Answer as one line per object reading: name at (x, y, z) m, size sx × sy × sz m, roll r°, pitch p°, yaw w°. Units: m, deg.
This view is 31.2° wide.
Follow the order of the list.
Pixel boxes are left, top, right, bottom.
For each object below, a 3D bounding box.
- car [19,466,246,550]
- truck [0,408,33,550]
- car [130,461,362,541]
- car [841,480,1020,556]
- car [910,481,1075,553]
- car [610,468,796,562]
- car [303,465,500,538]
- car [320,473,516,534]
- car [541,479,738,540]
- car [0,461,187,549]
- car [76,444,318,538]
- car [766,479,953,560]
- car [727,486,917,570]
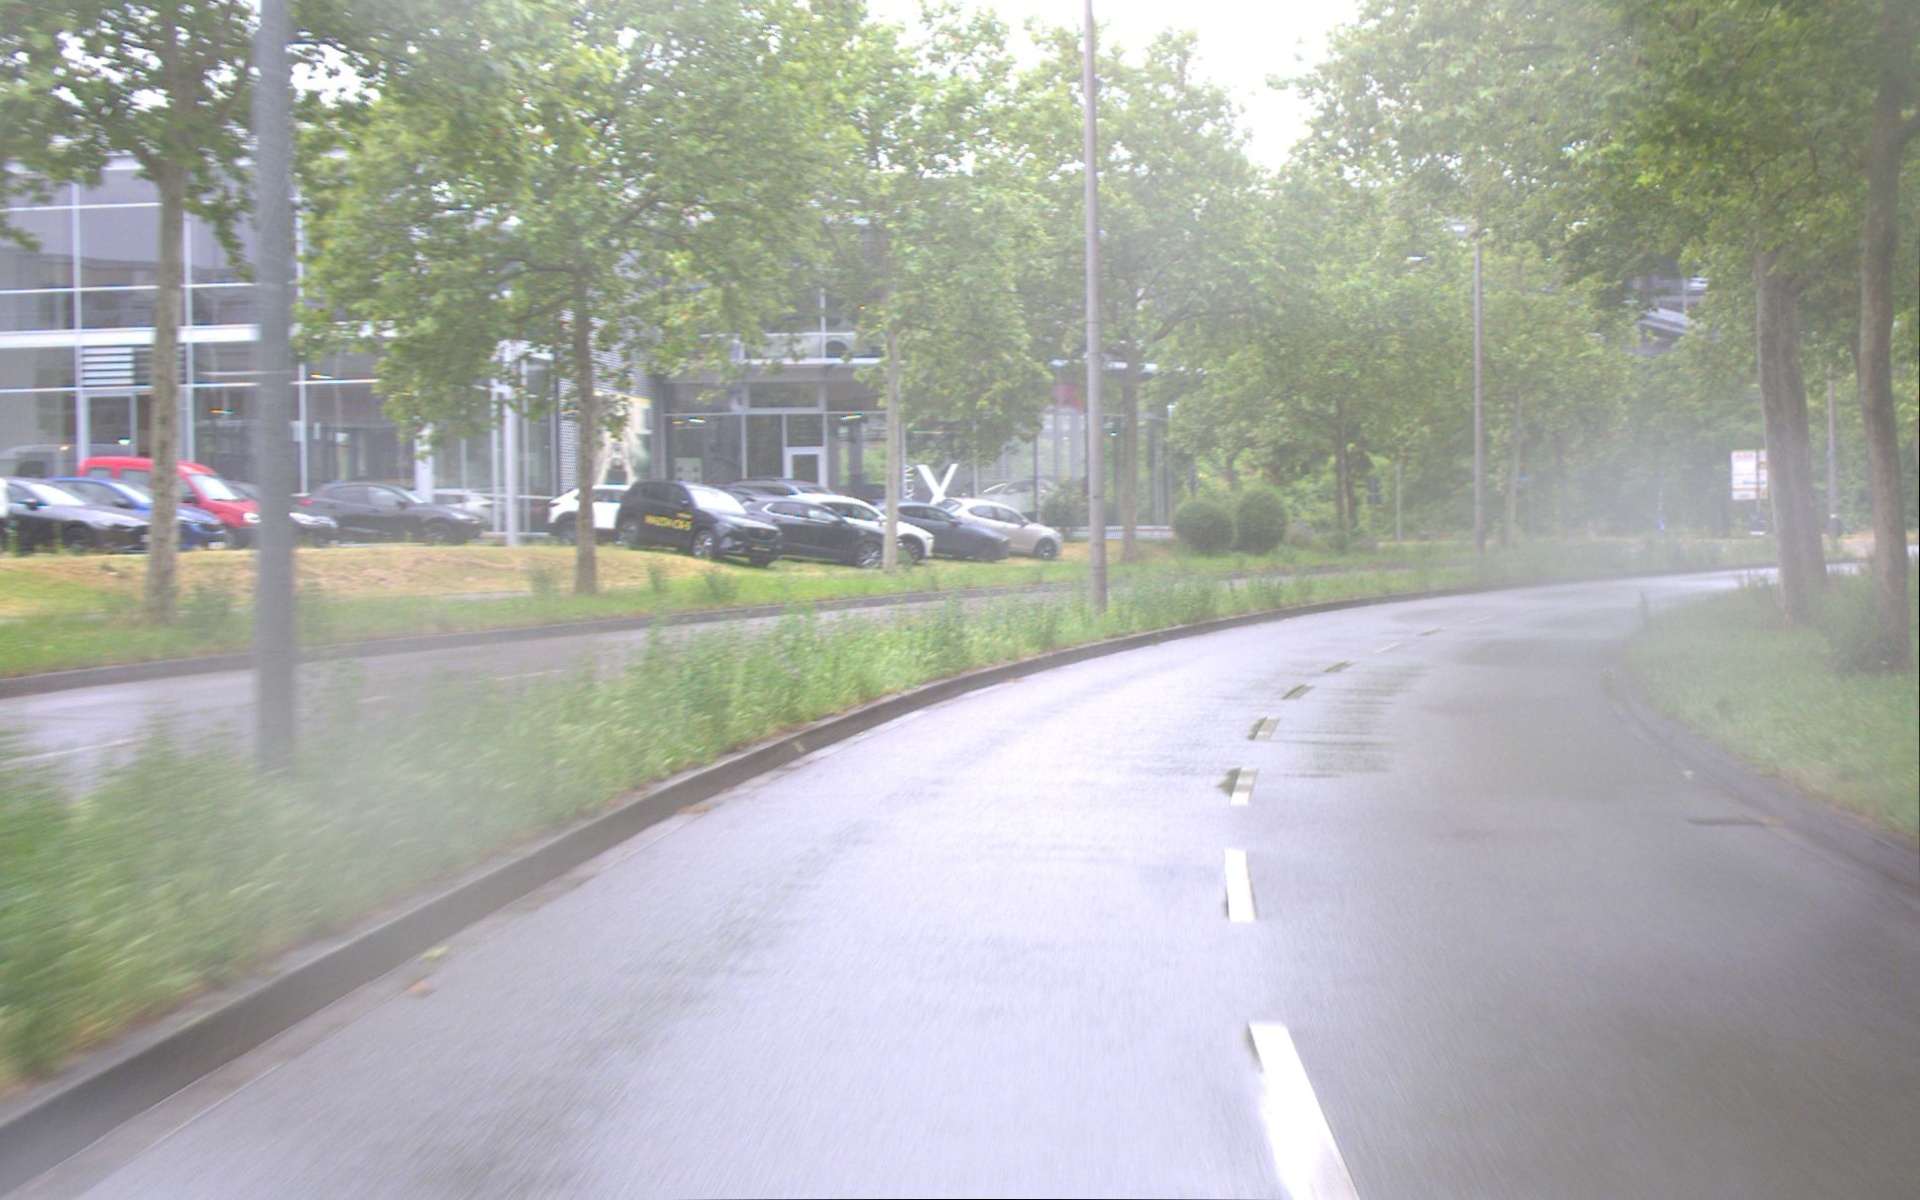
car at (-14.877, -1.673, 61.829) m, size 3.525 × 1.322 × 1.767 m, roll 3°, pitch 3°, yaw 15°
truck at (-17.581, -1.963, 55.381) m, size 2.248 × 2.336 × 6.190 m, roll 3°, pitch 3°, yaw 15°
car at (-13.965, -1.957, 67.309) m, size 3.999 × 1.352 × 1.846 m, roll 3°, pitch 3°, yaw 15°
car at (-0.762, -2.128, 89.133) m, size 4.115 × 1.417 × 1.849 m, roll 5°, pitch 5°, yaw -21°
car at (0.888, -2.243, 93.106) m, size 3.986 × 1.470 × 1.785 m, roll 4°, pitch 5°, yaw -30°
car at (-5.949, -1.977, 79.199) m, size 1.842 × 1.551 × 4.436 m, roll 3°, pitch 6°, yaw -42°
car at (-12.023, -2.132, 74.202) m, size 3.995 × 1.352 × 1.848 m, roll 2°, pitch 3°, yaw -3°
car at (-13.360, -2.392, 84.853) m, size 4.422 × 1.468 × 1.920 m, roll 0°, pitch 2°, yaw 6°
car at (-7.835, -2.218, 84.199) m, size 4.424 × 1.468 × 1.919 m, roll 1°, pitch 2°, yaw 12°
car at (-15.447, -1.668, 59.606) m, size 3.525 × 1.322 × 1.767 m, roll 3°, pitch 3°, yaw 15°
car at (-14.302, -2.056, 64.480) m, size 3.999 × 1.551 × 1.846 m, roll 3°, pitch 3°, yaw 15°
car at (-2.494, -2.001, 85.519) m, size 4.115 × 1.473 × 1.849 m, roll 5°, pitch 5°, yaw -24°
car at (-3.330, -1.734, 82.700) m, size 4.115 × 1.473 × 1.849 m, roll 5°, pitch 5°, yaw -17°
